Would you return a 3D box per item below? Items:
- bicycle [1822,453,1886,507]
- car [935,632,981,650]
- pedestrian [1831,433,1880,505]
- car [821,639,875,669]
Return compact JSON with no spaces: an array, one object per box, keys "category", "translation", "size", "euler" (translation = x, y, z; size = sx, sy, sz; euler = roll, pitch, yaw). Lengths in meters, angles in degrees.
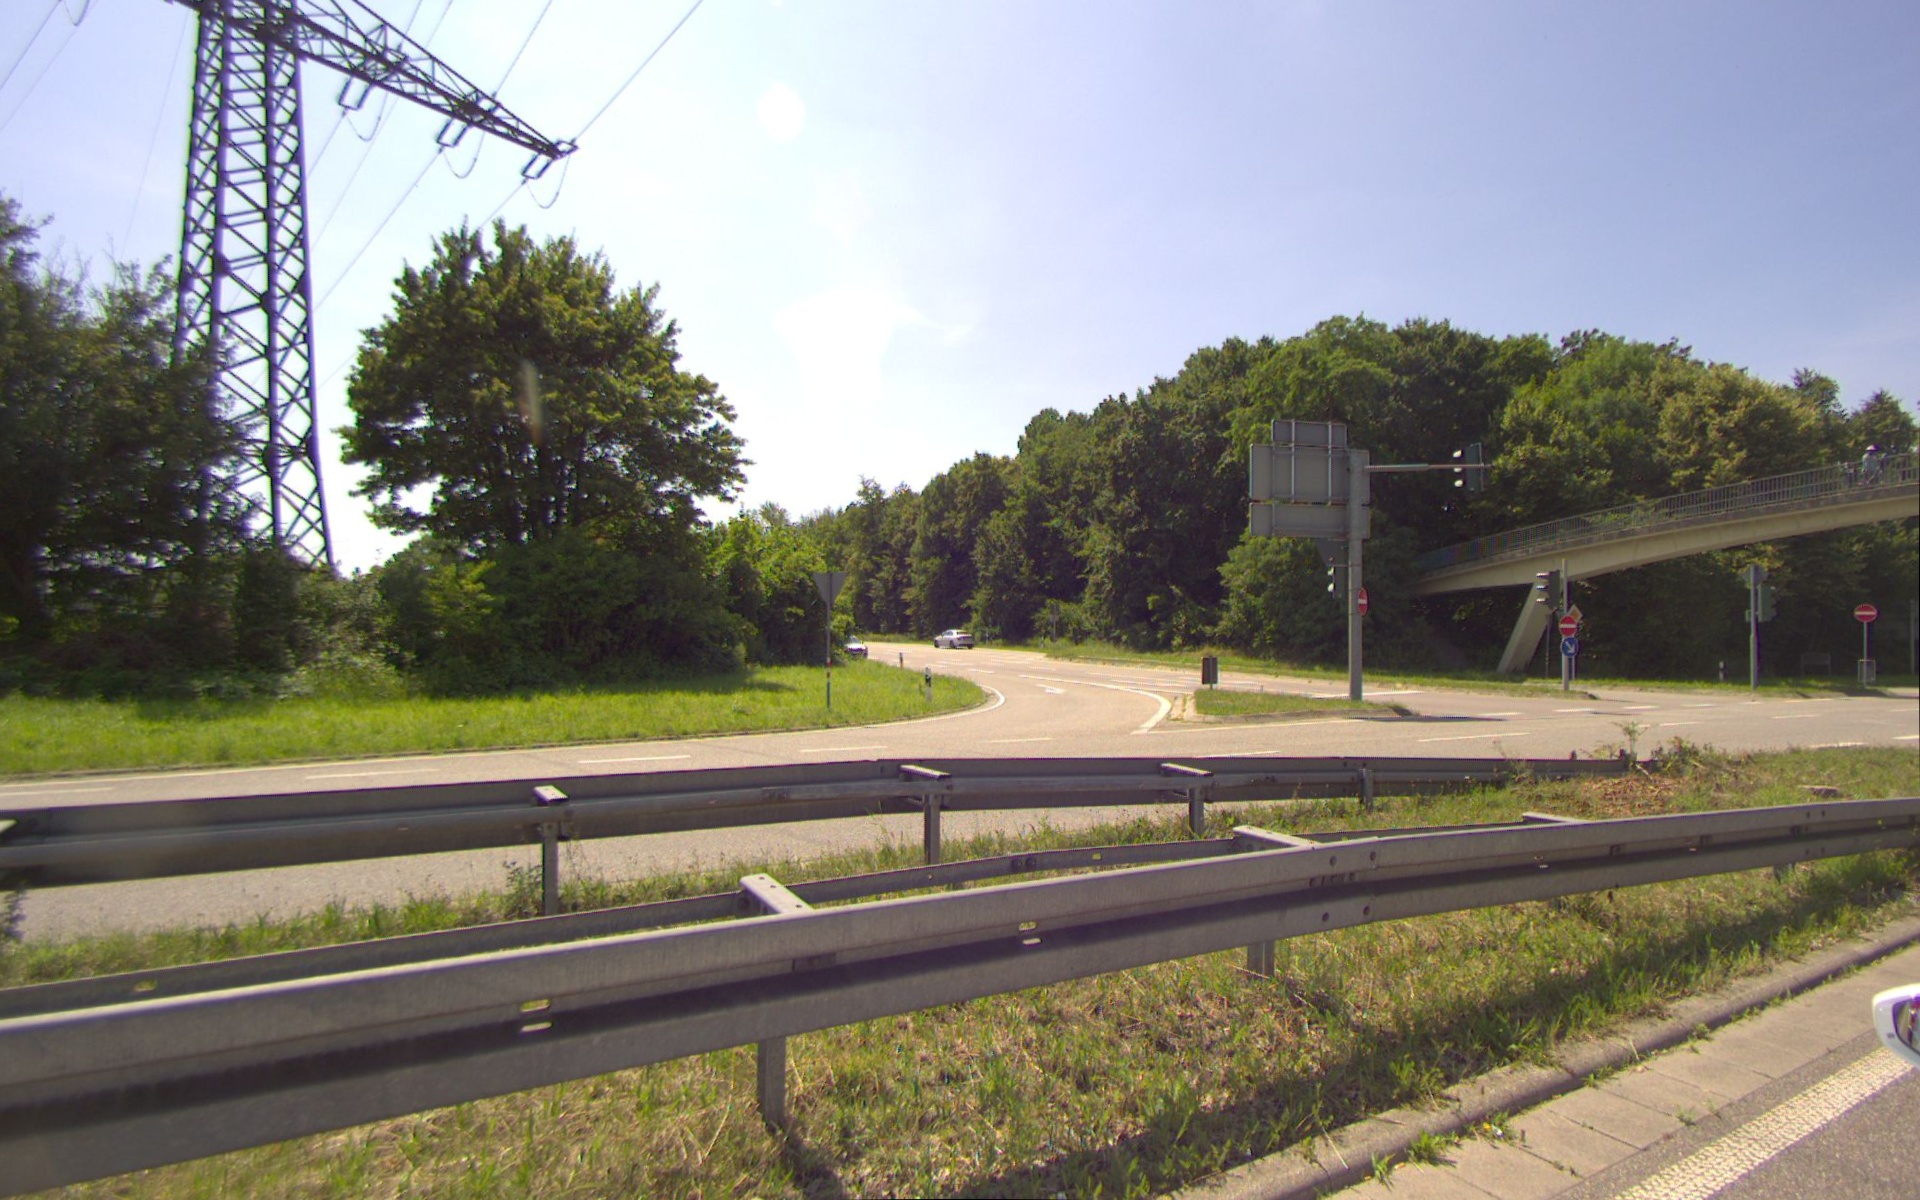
[{"category":"bicycle","translation":[28.981,-3.876,32.599],"size":[0.462,1.493,1.528],"euler":[2,-4,-14]},{"category":"car","translation":[-0.205,3.196,78.863],"size":[1.971,1.391,4.758],"euler":[1,-2,-22]},{"category":"pedestrian","translation":[29.230,-4.254,32.779],"size":[0.916,2.167,0.782],"euler":[2,-4,-15]},{"category":"car","translation":[-6.934,3.293,61.746],"size":[2.019,1.597,4.641],"euler":[-2,0,-22]}]
